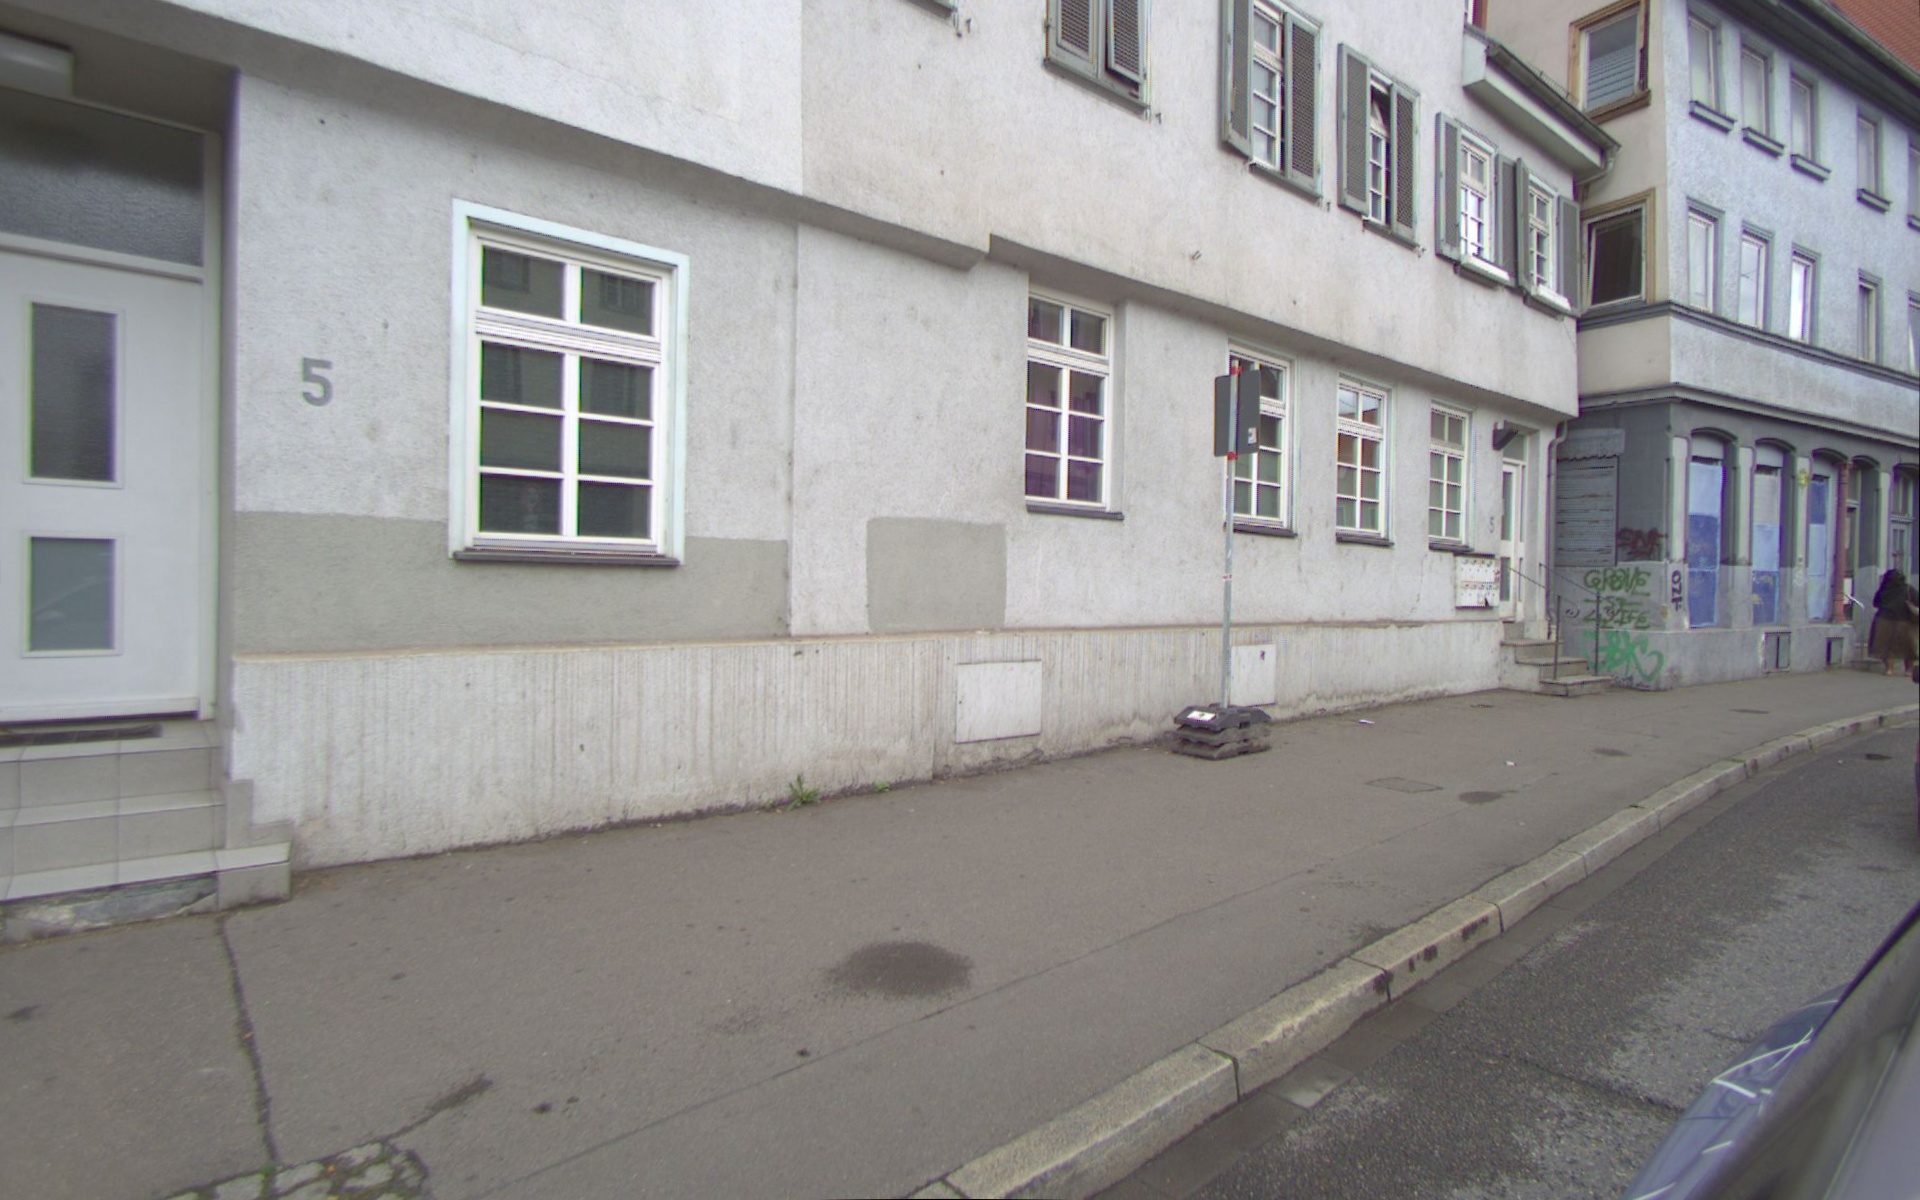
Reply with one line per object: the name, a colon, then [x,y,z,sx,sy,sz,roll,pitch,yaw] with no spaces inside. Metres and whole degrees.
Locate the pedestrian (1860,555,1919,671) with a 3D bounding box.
pedestrian: [14.505,0.188,15.510,0.793,1.687,0.758,1,3,-31]

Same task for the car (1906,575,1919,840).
car: [7.253,0.629,6.215,3.951,1.444,1.684,1,1,-41]
